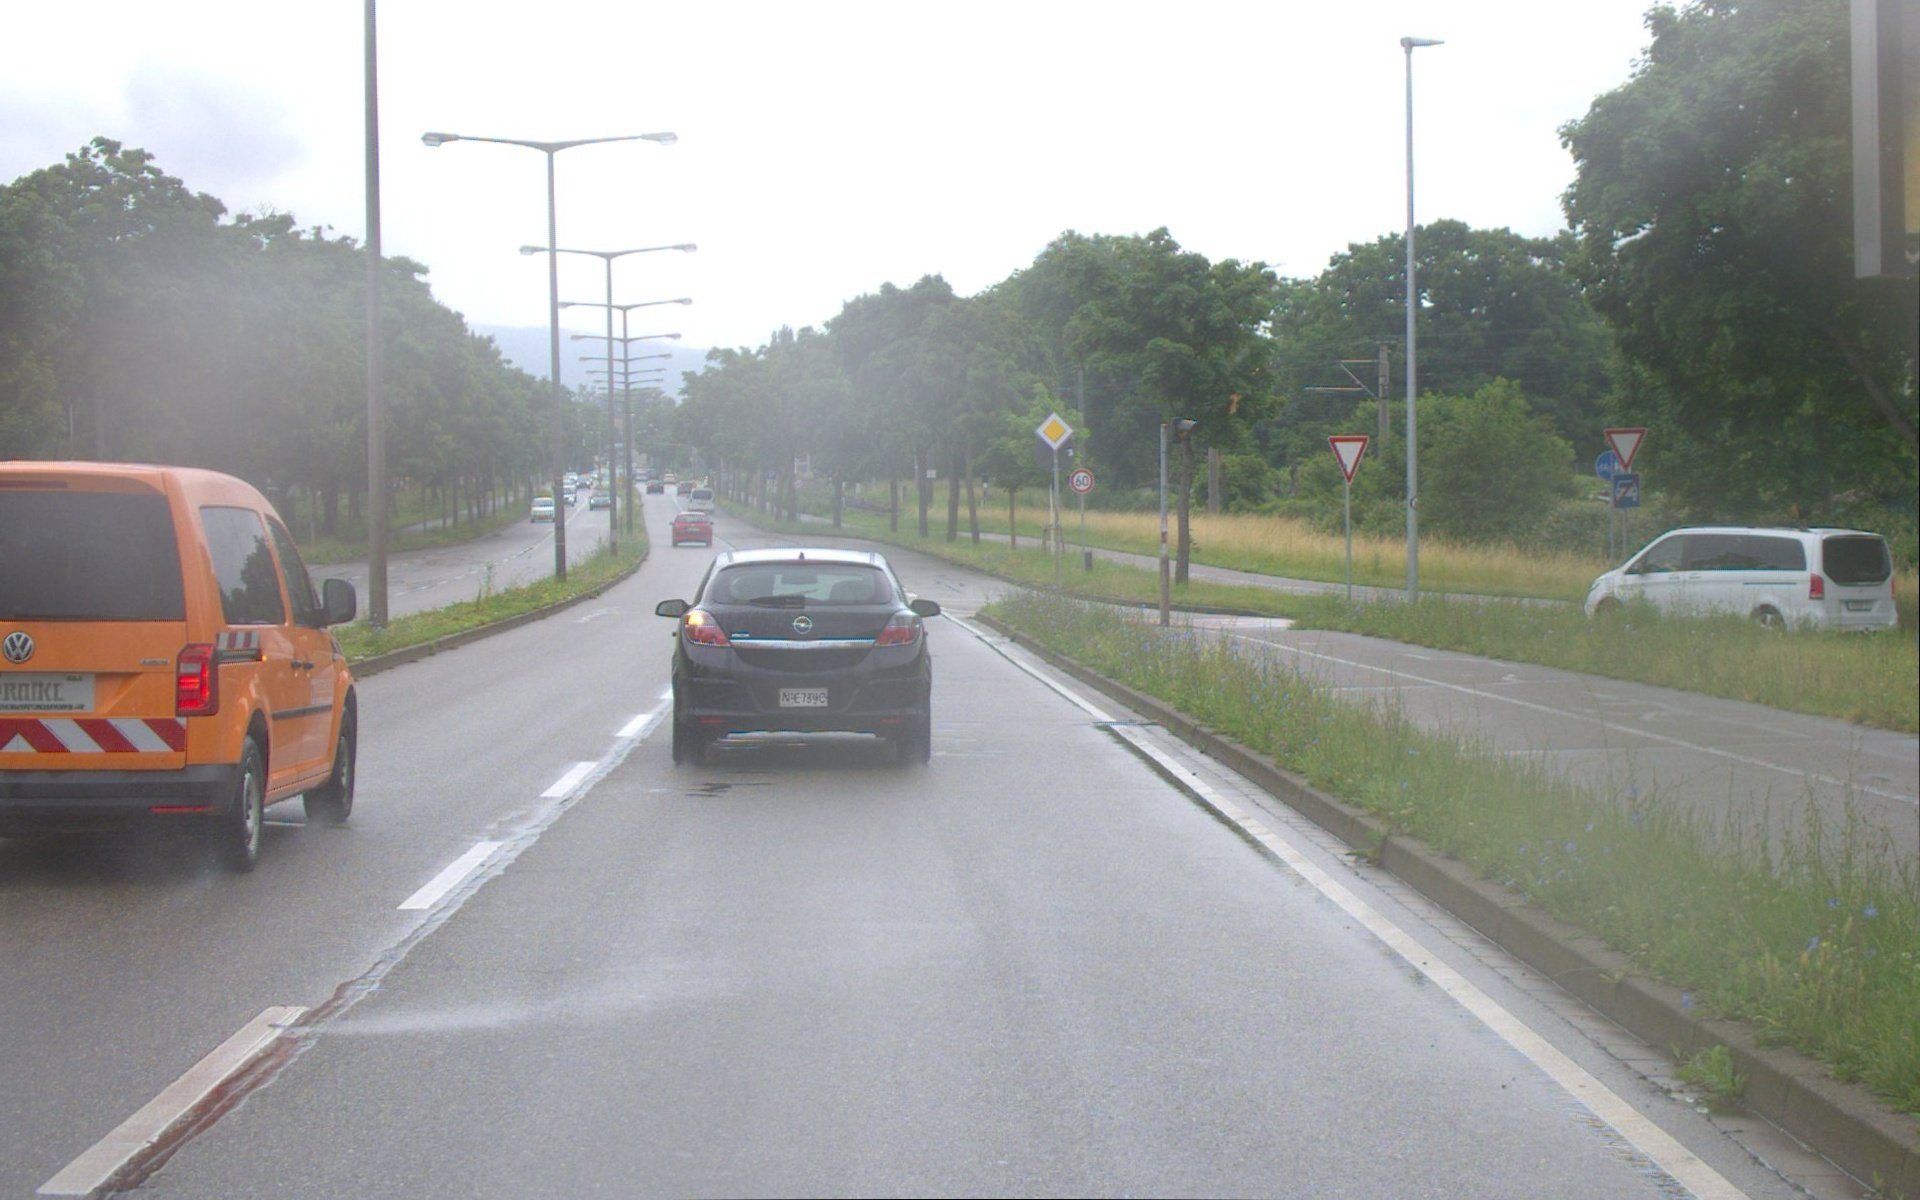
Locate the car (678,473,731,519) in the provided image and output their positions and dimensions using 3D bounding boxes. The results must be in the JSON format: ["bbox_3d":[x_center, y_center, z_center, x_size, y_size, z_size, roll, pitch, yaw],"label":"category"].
[{"bbox_3d":[-10.681,-4.349,144.005,1.993,1.873,4.001,1,1,-1],"label":"car"}]

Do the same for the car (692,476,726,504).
[{"bbox_3d":[-18.889,-8.227,258.542,2.515,2.045,5.294,-1,1,-5],"label":"car"}]

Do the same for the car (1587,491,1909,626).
[{"bbox_3d":[12.011,-0.670,52.678,2.059,1.968,4.608,0,2,-35],"label":"car"}]

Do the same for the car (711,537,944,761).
[{"bbox_3d":[-0.883,0.277,23.606,1.463,1.324,3.758,0,2,-1],"label":"car"}]

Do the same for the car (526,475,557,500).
[{"bbox_3d":[-26.990,-7.257,221.735,1.683,1.548,4.001,1,2,-2],"label":"car"}]

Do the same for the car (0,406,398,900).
[{"bbox_3d":[-3.931,0.153,16.409,1.734,2.012,4.850,0,1,0],"label":"car"}]
